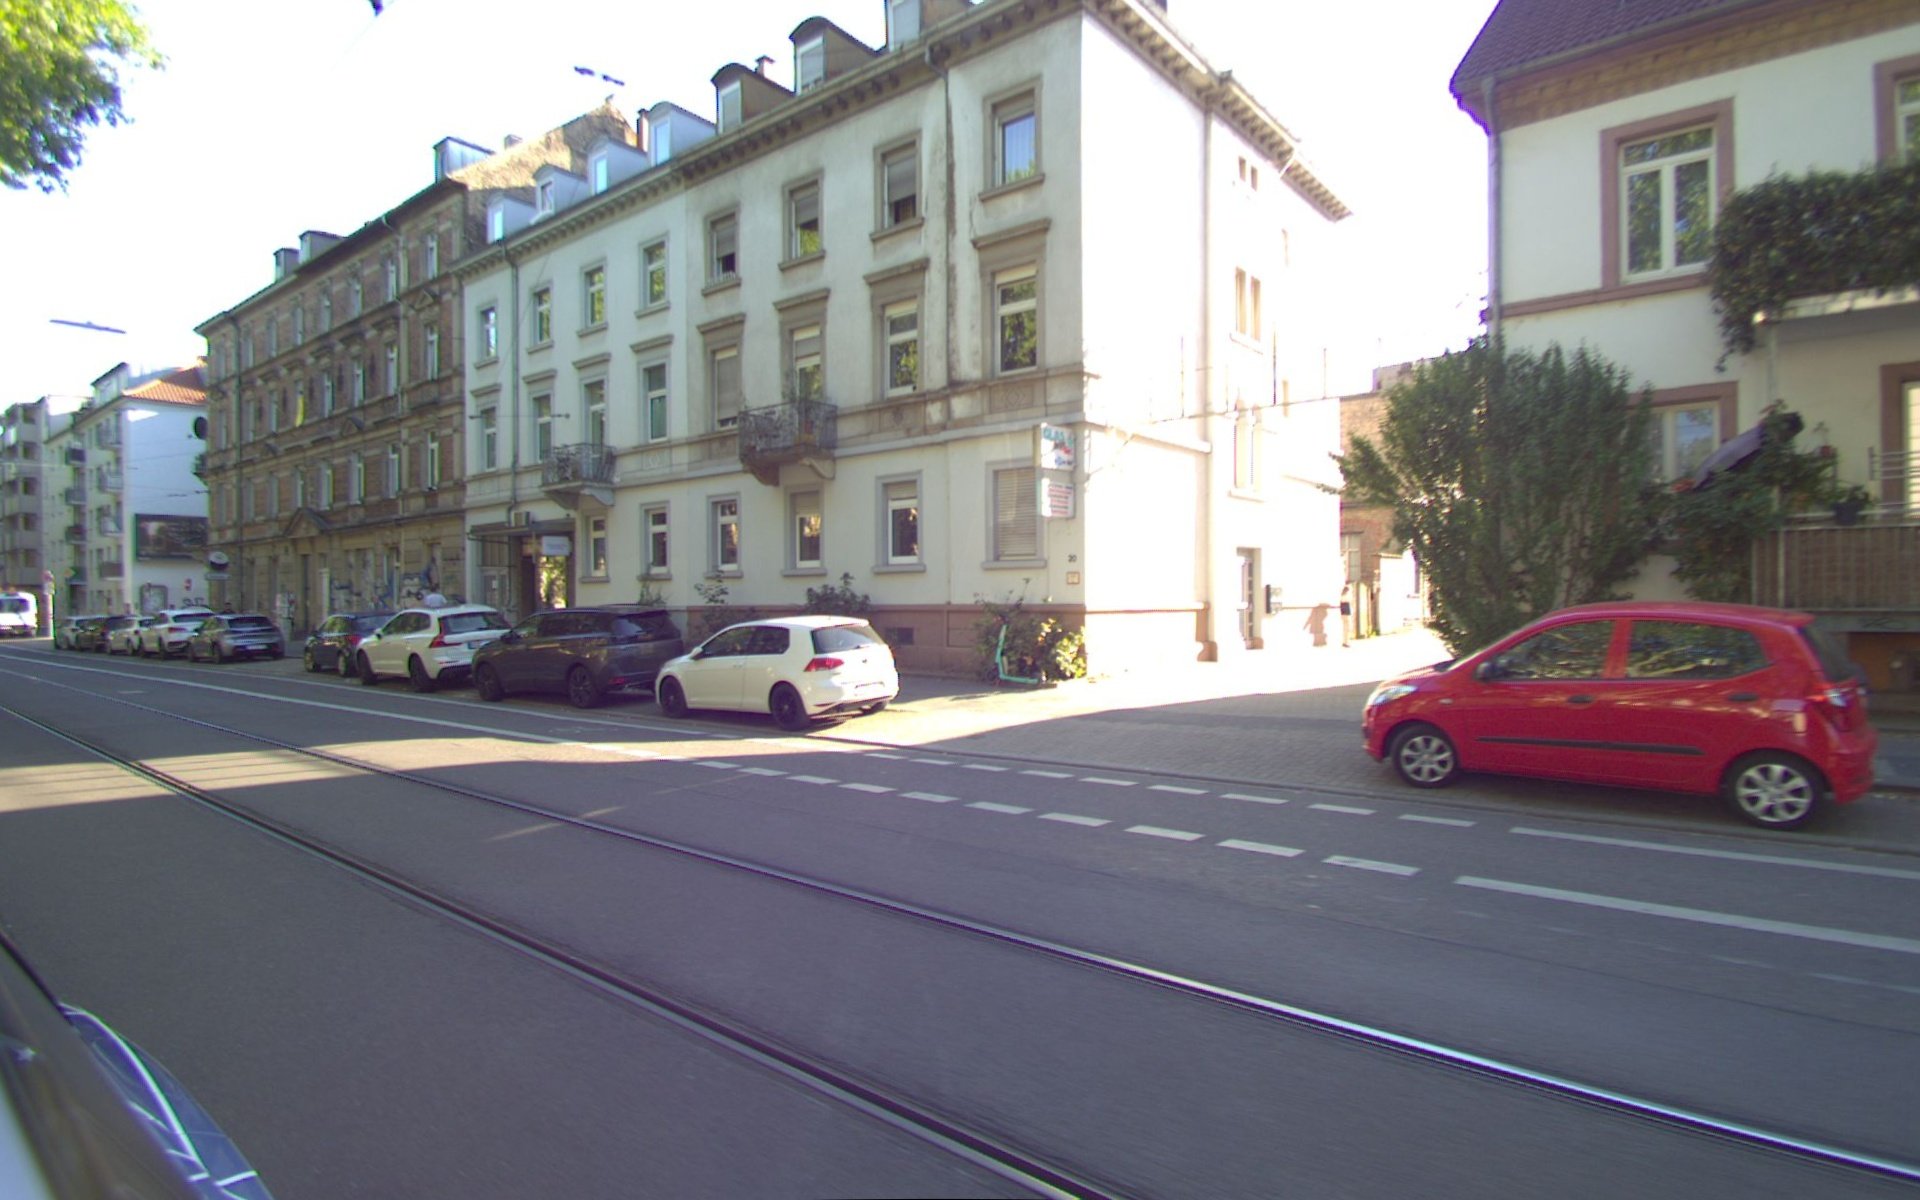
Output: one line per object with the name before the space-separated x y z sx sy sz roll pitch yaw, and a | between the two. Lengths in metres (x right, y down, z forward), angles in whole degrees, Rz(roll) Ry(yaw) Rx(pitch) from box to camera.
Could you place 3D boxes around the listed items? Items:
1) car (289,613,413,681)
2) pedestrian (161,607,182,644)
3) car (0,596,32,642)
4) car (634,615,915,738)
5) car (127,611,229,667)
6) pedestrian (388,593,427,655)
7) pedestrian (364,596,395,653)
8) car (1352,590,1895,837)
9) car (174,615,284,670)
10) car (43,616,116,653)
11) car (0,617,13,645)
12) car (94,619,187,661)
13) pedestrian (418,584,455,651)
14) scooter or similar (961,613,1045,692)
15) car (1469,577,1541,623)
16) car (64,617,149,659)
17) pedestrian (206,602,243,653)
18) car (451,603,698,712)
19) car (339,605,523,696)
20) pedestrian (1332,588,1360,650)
car | -14.857 1.086 24.605 3.923 1.527 1.537 -1 -1 42
pedestrian | -38.058 1.233 48.857 0.893 1.762 0.649 -3 -1 43
car | -54.597 1.063 57.626 5.664 2.554 2.043 -1 -1 41
car | -2.800 1.004 14.726 4.254 1.488 1.670 -1 1 40
car | -26.718 1.262 34.524 4.714 1.736 1.769 -1 1 40
pedestrian | -16.667 0.715 30.524 0.828 1.835 0.752 -1 -1 37
pedestrian | -17.590 0.737 30.692 0.653 1.678 0.771 -1 1 -19
car | 5.211 0.747 8.208 3.449 1.574 1.552 -1 -1 44
car | -22.466 1.248 31.050 4.058 1.532 1.647 -1 1 38
car | -38.854 1.501 44.617 4.040 1.503 1.724 -1 1 39
car | -58.663 1.847 61.018 4.341 1.644 1.702 -1 0 38
car | -30.653 1.459 37.825 3.992 1.431 1.684 -1 1 36
pedestrian | -16.124 0.547 31.168 0.829 2.029 0.752 -1 -1 38
scooter or similar | 0.717 0.866 17.239 0.441 1.290 1.577 0 -1 -42
car | 24.947 -0.027 46.493 1.787 2.007 3.823 -1 1 11
car | -34.787 1.493 41.222 4.780 1.574 1.724 -1 1 39
pedestrian | -26.647 0.994 36.659 1.053 1.814 0.679 -1 1 31
car | -6.934 0.942 18.029 4.648 1.716 1.841 -1 -1 35
car | -11.232 0.993 21.328 4.760 1.716 1.837 -1 -1 41
pedestrian | 10.356 0.508 27.176 0.496 1.652 0.597 -1 0 -1
